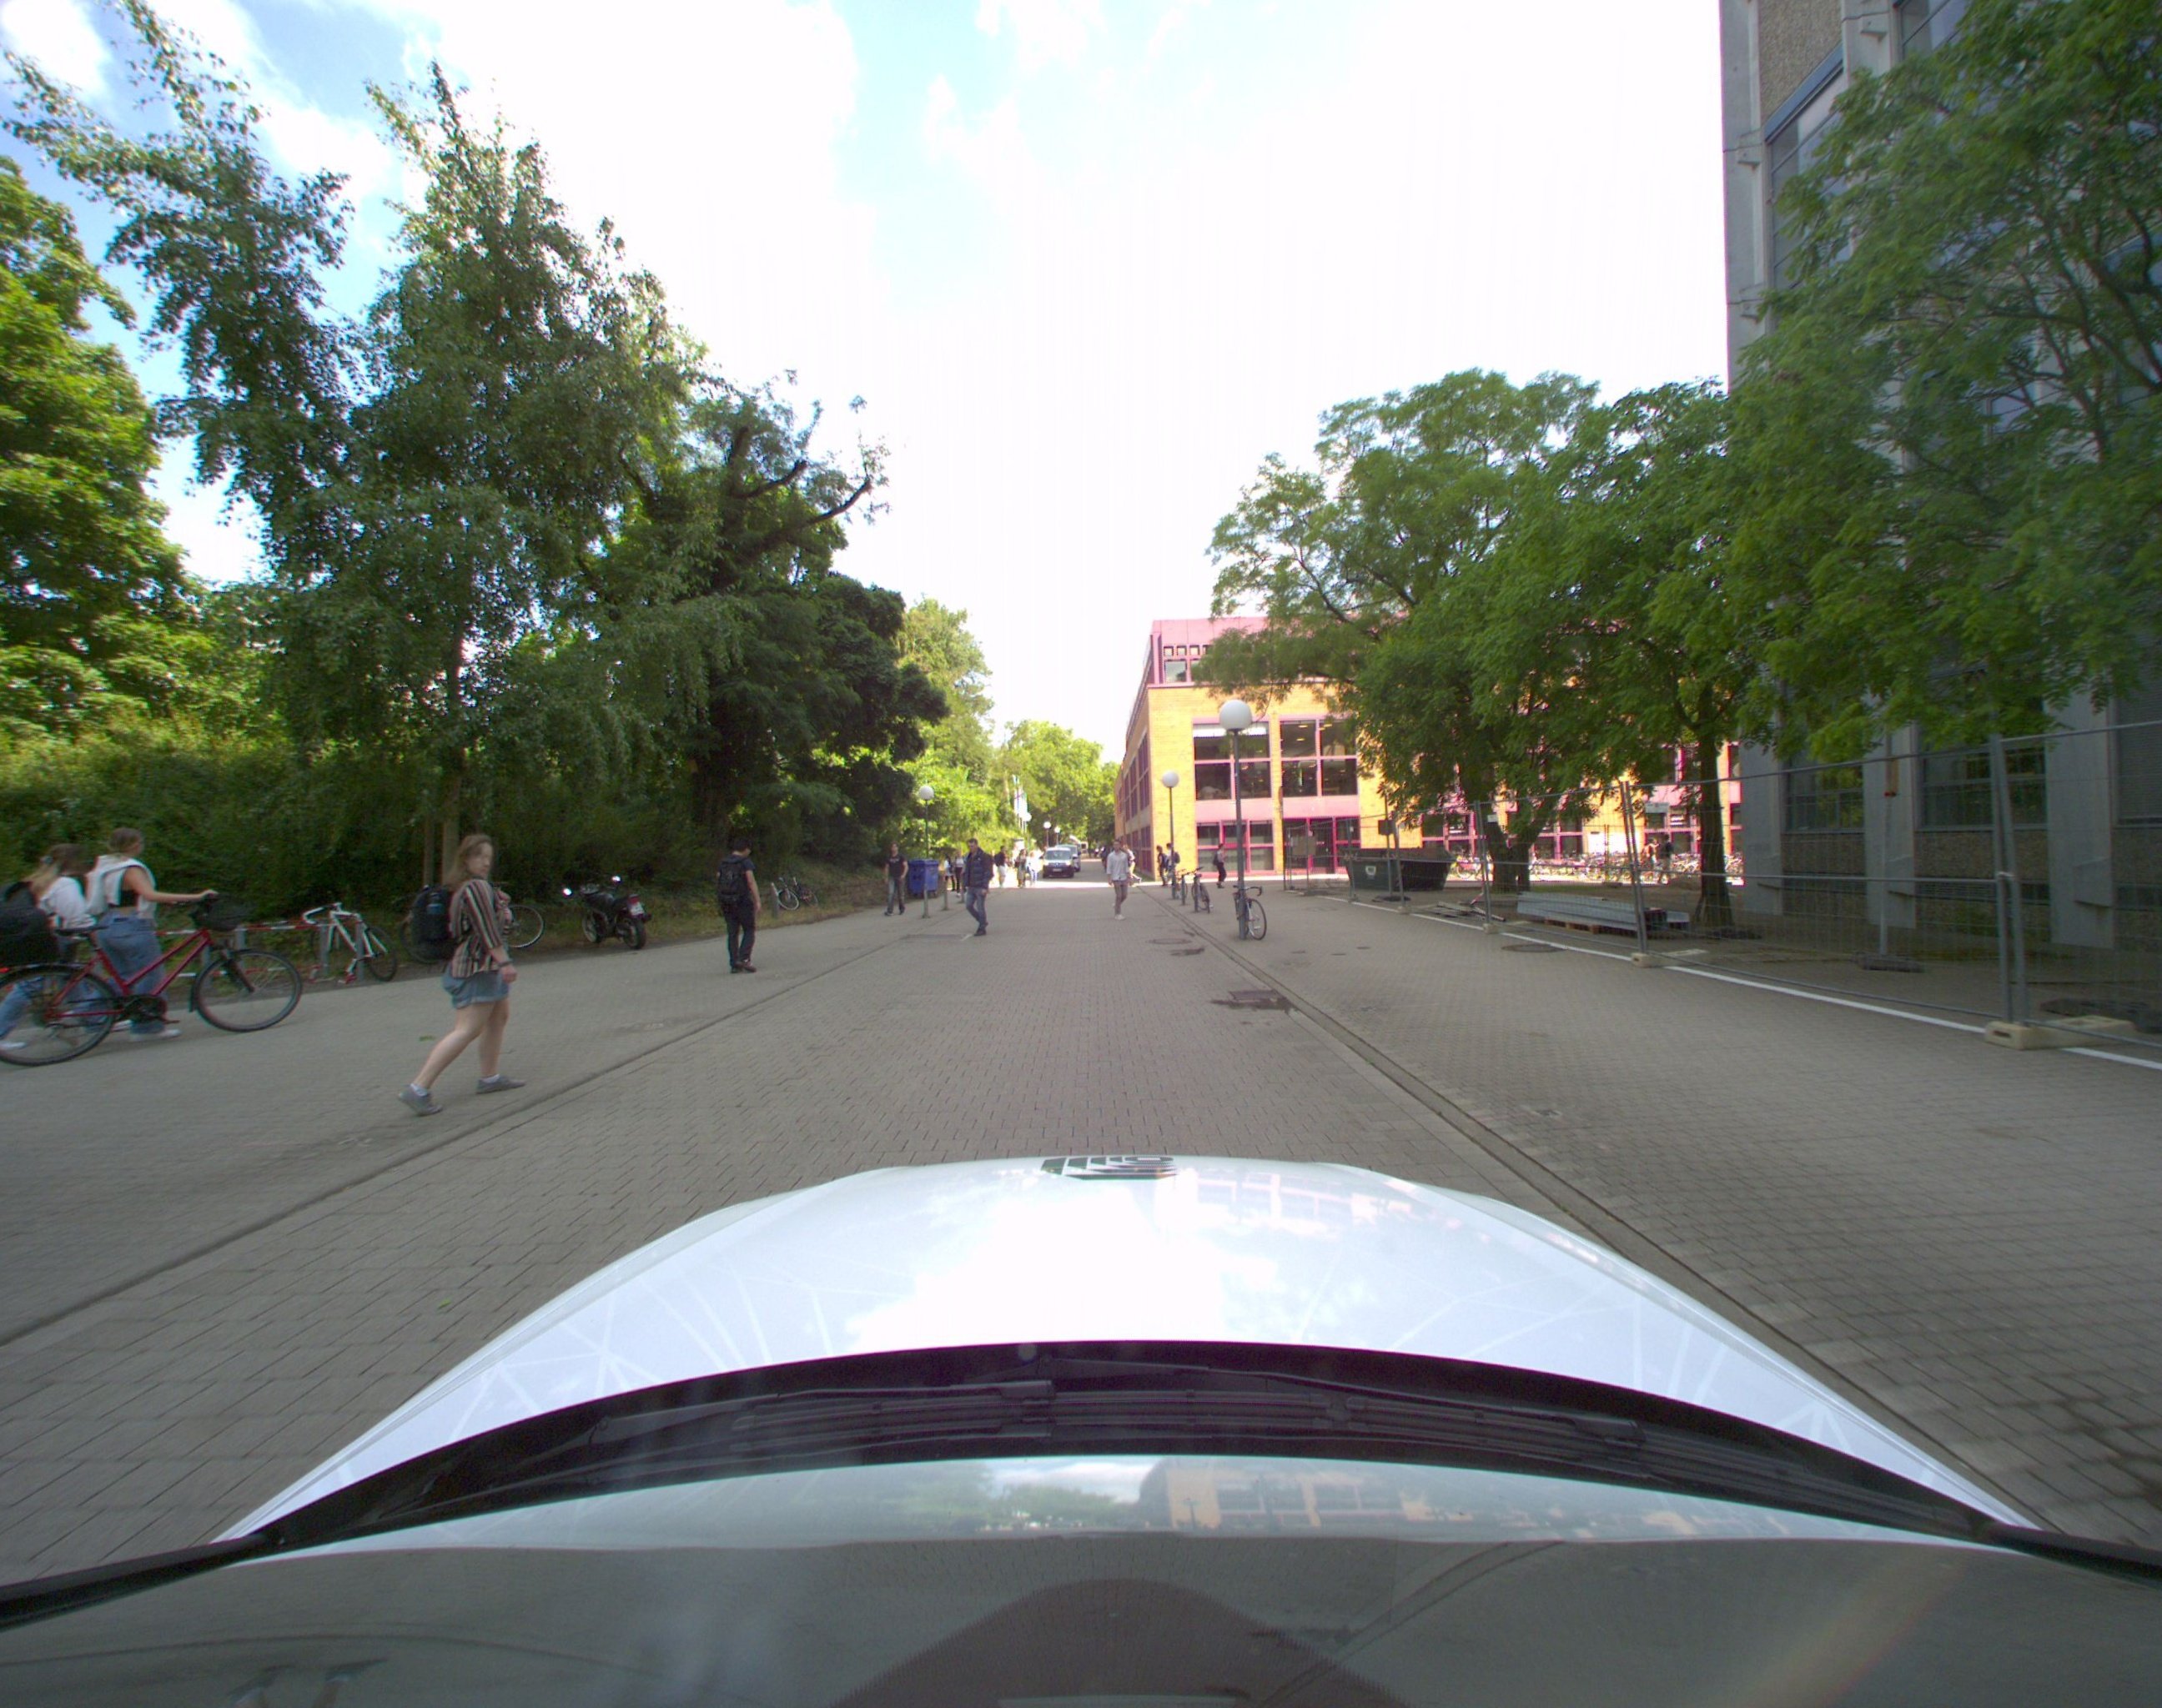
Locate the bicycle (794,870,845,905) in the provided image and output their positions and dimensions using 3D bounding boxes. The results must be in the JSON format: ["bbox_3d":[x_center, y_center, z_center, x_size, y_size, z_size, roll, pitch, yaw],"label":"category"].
[{"bbox_3d":[-7.129,0.905,22.279,0.418,0.910,1.747,-1,-1,16],"label":"bicycle"}]

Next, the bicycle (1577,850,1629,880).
[{"bbox_3d":[20.784,0.444,32.434,1.799,1.169,0.474,0,0,1],"label":"bicycle"}]

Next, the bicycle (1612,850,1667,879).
[{"bbox_3d":[23.244,0.432,33.902,1.990,1.169,0.474,0,0,-1],"label":"bicycle"}]

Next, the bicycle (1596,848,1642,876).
[{"bbox_3d":[23.293,0.337,35.230,2.000,1.169,0.471,0,0,-16],"label":"bicycle"}]

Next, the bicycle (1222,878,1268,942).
[{"bbox_3d":[2.774,0.920,13.901,0.394,0.936,1.732,-3,0,0],"label":"bicycle"}]

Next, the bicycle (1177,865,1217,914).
[{"bbox_3d":[2.781,0.838,19.678,0.706,1.093,1.748,-1,0,0],"label":"bicycle"}]

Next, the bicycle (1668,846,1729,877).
[{"bbox_3d":[23.543,0.282,31.075,1.990,1.169,0.474,0,0,-1],"label":"bicycle"}]

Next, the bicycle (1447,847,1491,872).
[{"bbox_3d":[17.483,0.229,36.664,1.803,1.110,0.473,0,0,-6],"label":"bicycle"}]

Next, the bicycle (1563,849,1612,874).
[{"bbox_3d":[23.248,0.341,37.404,1.990,1.169,0.474,0,0,-1],"label":"bicycle"}]

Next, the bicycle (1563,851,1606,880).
[{"bbox_3d":[21.207,0.478,34.296,1.810,1.169,0.471,0,0,-16],"label":"bicycle"}]

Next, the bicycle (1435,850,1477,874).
[{"bbox_3d":[17.436,0.358,37.881,1.803,1.110,0.473,0,0,-6],"label":"bicycle"}]

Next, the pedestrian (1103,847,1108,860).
[{"bbox_3d":[3.624,-0.020,121.942,0.651,1.922,0.818,-3,-1,2],"label":"pedestrian"}]

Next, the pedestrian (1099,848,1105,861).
[{"bbox_3d":[2.789,0.088,106.230,0.722,1.672,0.748,-3,-1,2],"label":"pedestrian"}]

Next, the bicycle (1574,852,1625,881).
[{"bbox_3d":[21.012,0.512,33.038,1.801,1.169,0.474,0,0,-2],"label":"bicycle"}]

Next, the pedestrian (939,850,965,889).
[{"bbox_3d":[-5.397,0.661,33.984,0.906,1.611,0.574,-1,-1,37],"label":"pedestrian"}]

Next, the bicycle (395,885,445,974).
[{"bbox_3d":[-8.931,0.971,10.986,0.476,1.047,1.680,1,0,-40],"label":"bicycle"}]

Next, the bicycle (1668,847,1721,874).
[{"bbox_3d":[27.559,0.294,36.608,1.990,1.169,0.545,0,0,-1],"label":"bicycle"}]

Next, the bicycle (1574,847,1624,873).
[{"bbox_3d":[23.164,0.257,36.431,1.990,1.169,0.474,0,0,-1],"label":"bicycle"}]

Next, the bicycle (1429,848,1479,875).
[{"bbox_3d":[15.338,0.298,33.500,1.803,1.110,0.523,0,0,0],"label":"bicycle"}]

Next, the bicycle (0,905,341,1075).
[{"bbox_3d":[-7.357,1.009,6.613,0.535,1.047,1.920,0,0,27],"label":"bicycle"}]

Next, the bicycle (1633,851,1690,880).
[{"bbox_3d":[23.352,0.450,32.789,1.990,1.169,0.474,0,0,-1],"label":"bicycle"}]

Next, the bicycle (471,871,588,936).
[{"bbox_3d":[-9.621,0.832,14.287,0.468,1.047,1.709,1,0,22],"label":"bicycle"}]

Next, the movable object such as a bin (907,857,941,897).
[{"bbox_3d":[-5.464,0.785,28.419,0.705,1.336,1.243,1,0,11],"label":"movable object such as a bin"}]

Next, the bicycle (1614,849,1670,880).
[{"bbox_3d":[21.483,0.399,31.187,1.798,1.169,0.474,0,0,4],"label":"bicycle"}]

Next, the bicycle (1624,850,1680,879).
[{"bbox_3d":[23.402,0.436,33.375,1.990,1.169,0.474,0,0,-1],"label":"bicycle"}]

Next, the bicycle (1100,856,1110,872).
[{"bbox_3d":[1.681,0.686,56.952,0.585,1.083,1.906,-1,0,-2],"label":"bicycle"}]

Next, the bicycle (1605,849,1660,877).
[{"bbox_3d":[23.340,0.359,34.475,1.990,1.169,0.474,0,0,-1],"label":"bicycle"}]

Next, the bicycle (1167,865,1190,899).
[{"bbox_3d":[2.994,0.843,25.215,0.449,0.962,1.740,-4,0,0],"label":"bicycle"}]

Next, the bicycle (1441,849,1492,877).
[{"bbox_3d":[15.536,0.349,32.837,1.801,1.110,0.524,0,0,4],"label":"bicycle"}]

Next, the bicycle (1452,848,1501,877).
[{"bbox_3d":[15.392,0.323,31.715,1.686,1.110,0.474,0,0,4],"label":"bicycle"}]

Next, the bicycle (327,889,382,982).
[{"bbox_3d":[-9.337,1.003,10.500,0.476,1.047,1.679,-1,0,-40],"label":"bicycle"}]

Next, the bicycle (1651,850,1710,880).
[{"bbox_3d":[23.335,0.432,31.712,1.990,1.169,0.474,0,0,-1],"label":"bicycle"}]
